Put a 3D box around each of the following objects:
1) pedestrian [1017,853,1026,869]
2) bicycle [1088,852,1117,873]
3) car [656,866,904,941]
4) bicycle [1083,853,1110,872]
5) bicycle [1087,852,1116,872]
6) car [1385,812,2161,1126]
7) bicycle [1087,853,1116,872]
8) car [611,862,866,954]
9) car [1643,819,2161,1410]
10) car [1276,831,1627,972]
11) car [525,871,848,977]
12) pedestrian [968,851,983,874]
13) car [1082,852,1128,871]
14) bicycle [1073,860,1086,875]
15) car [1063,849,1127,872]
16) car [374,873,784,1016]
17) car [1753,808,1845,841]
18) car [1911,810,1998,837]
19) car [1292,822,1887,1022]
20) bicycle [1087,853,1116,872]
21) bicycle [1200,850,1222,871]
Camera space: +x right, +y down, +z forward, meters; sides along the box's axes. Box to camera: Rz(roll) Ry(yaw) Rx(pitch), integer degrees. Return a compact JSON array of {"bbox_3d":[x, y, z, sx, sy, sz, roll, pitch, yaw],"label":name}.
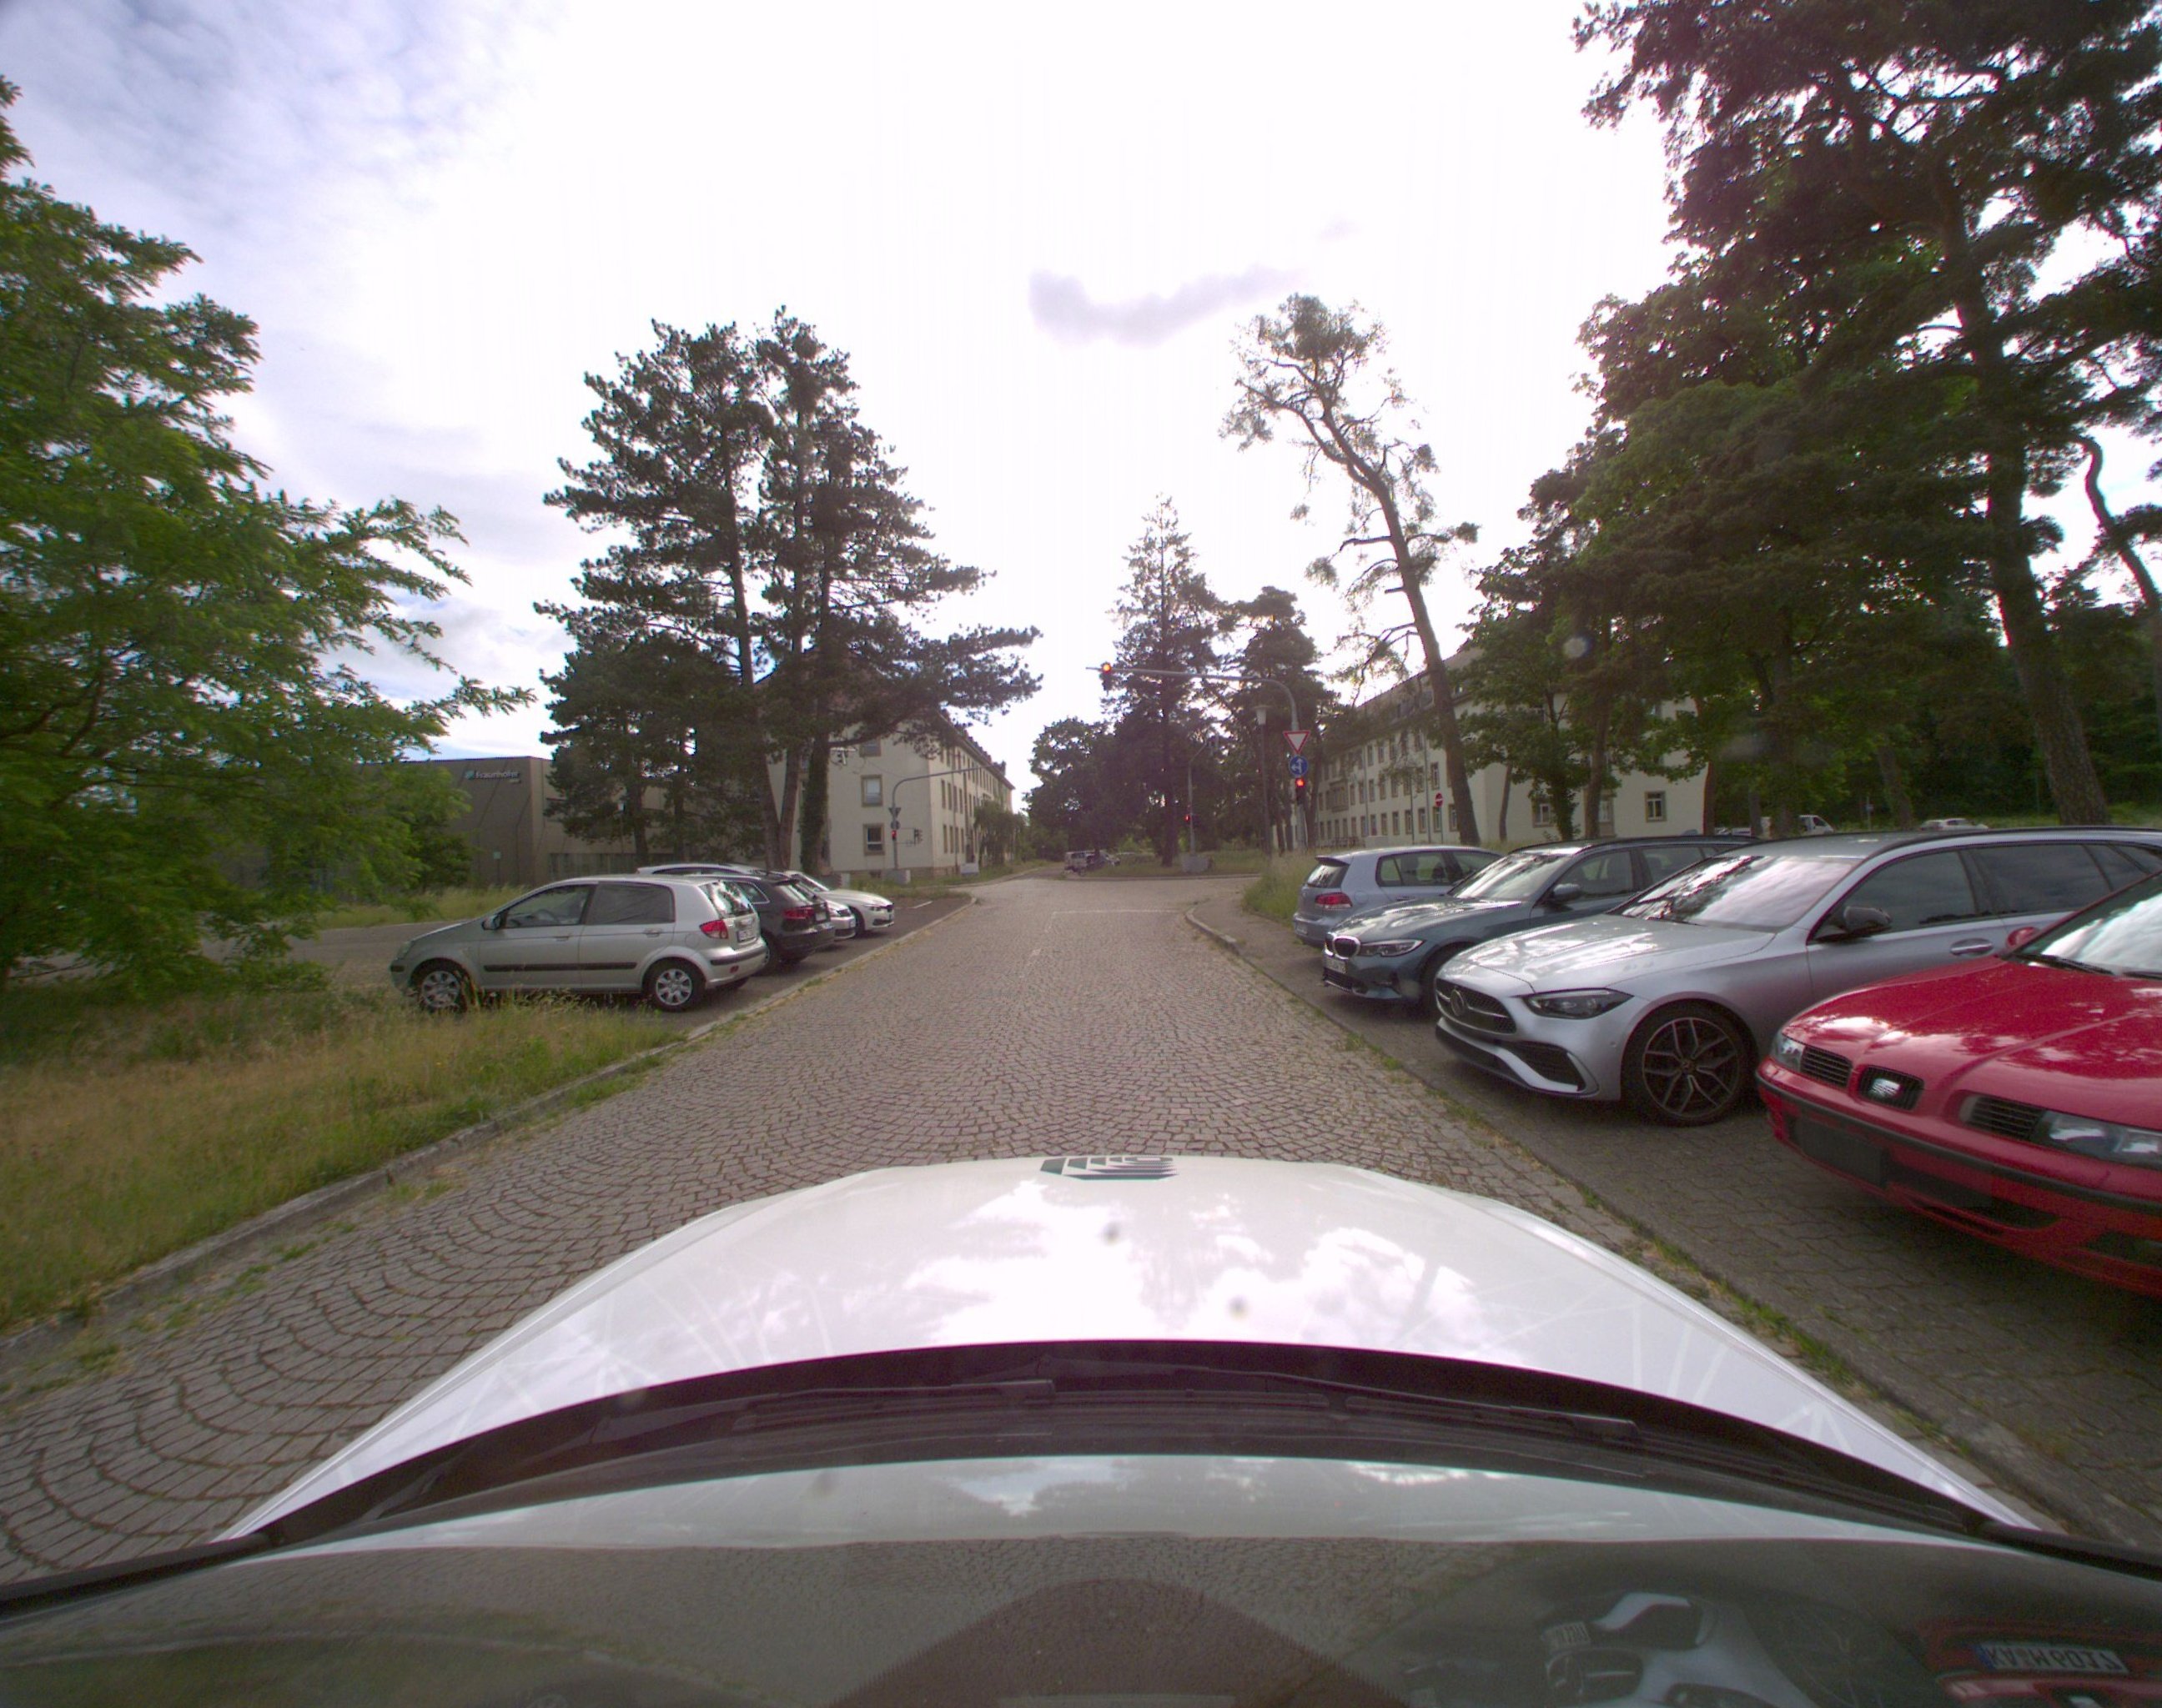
[{"bbox_3d":[-7.787,0.922,107.020,0.953,2.013,0.797,-3,0,10],"label":"pedestrian"},{"bbox_3d":[1.581,0.617,59.650,2.062,1.378,0.620,-3,0,0],"label":"bicycle"},{"bbox_3d":[-6.288,1.019,17.461,4.637,1.443,1.799,0,0,-4],"label":"car"},{"bbox_3d":[1.197,0.651,63.279,2.062,1.378,0.620,-3,0,0],"label":"bicycle"},{"bbox_3d":[1.543,0.623,60.321,2.062,1.378,0.620,-3,0,0],"label":"bicycle"},{"bbox_3d":[4.676,0.584,5.231,4.741,1.482,1.812,-3,0,0],"label":"car"},{"bbox_3d":[1.557,0.634,61.611,2.062,1.378,0.620,-3,0,0],"label":"bicycle"},{"bbox_3d":[-6.172,0.940,15.055,3.979,1.547,1.722,0,0,-5],"label":"car"},{"bbox_3d":[4.662,0.584,2.969,3.949,1.452,1.800,-3,0,0],"label":"car"},{"bbox_3d":[4.613,0.560,10.503,3.752,1.426,1.605,-4,0,-1],"label":"car"},{"bbox_3d":[-5.753,0.988,12.253,3.975,1.427,1.750,0,0,-1],"label":"car"},{"bbox_3d":[-9.737,0.762,75.155,1.082,2.013,1.023,-3,0,5],"label":"pedestrian"},{"bbox_3d":[2.137,0.673,74.171,3.925,1.544,1.997,-3,0,-5],"label":"car"},{"bbox_3d":[-0.111,0.967,57.852,0.614,0.963,2.081,-3,0,7],"label":"bicycle"},{"bbox_3d":[1.270,0.586,77.541,5.696,1.910,2.221,-3,0,-12],"label":"car"},{"bbox_3d":[-5.662,0.974,9.618,3.671,1.452,1.806,0,0,-5],"label":"car"},{"bbox_3d":[56.489,-2.308,64.110,5.161,2.288,2.214,-3,0,1],"label":"car"},{"bbox_3d":[57.153,-1.985,53.319,3.469,1.507,2.001,-3,0,1],"label":"car"},{"bbox_3d":[4.684,0.573,7.941,4.746,1.482,1.760,-3,0,-3],"label":"car"},{"bbox_3d":[1.545,0.628,60.946,2.062,1.378,0.620,-3,0,0],"label":"bicycle"},{"bbox_3d":[7.537,0.382,47.380,0.906,1.177,1.874,-3,0,0],"label":"bicycle"}]
